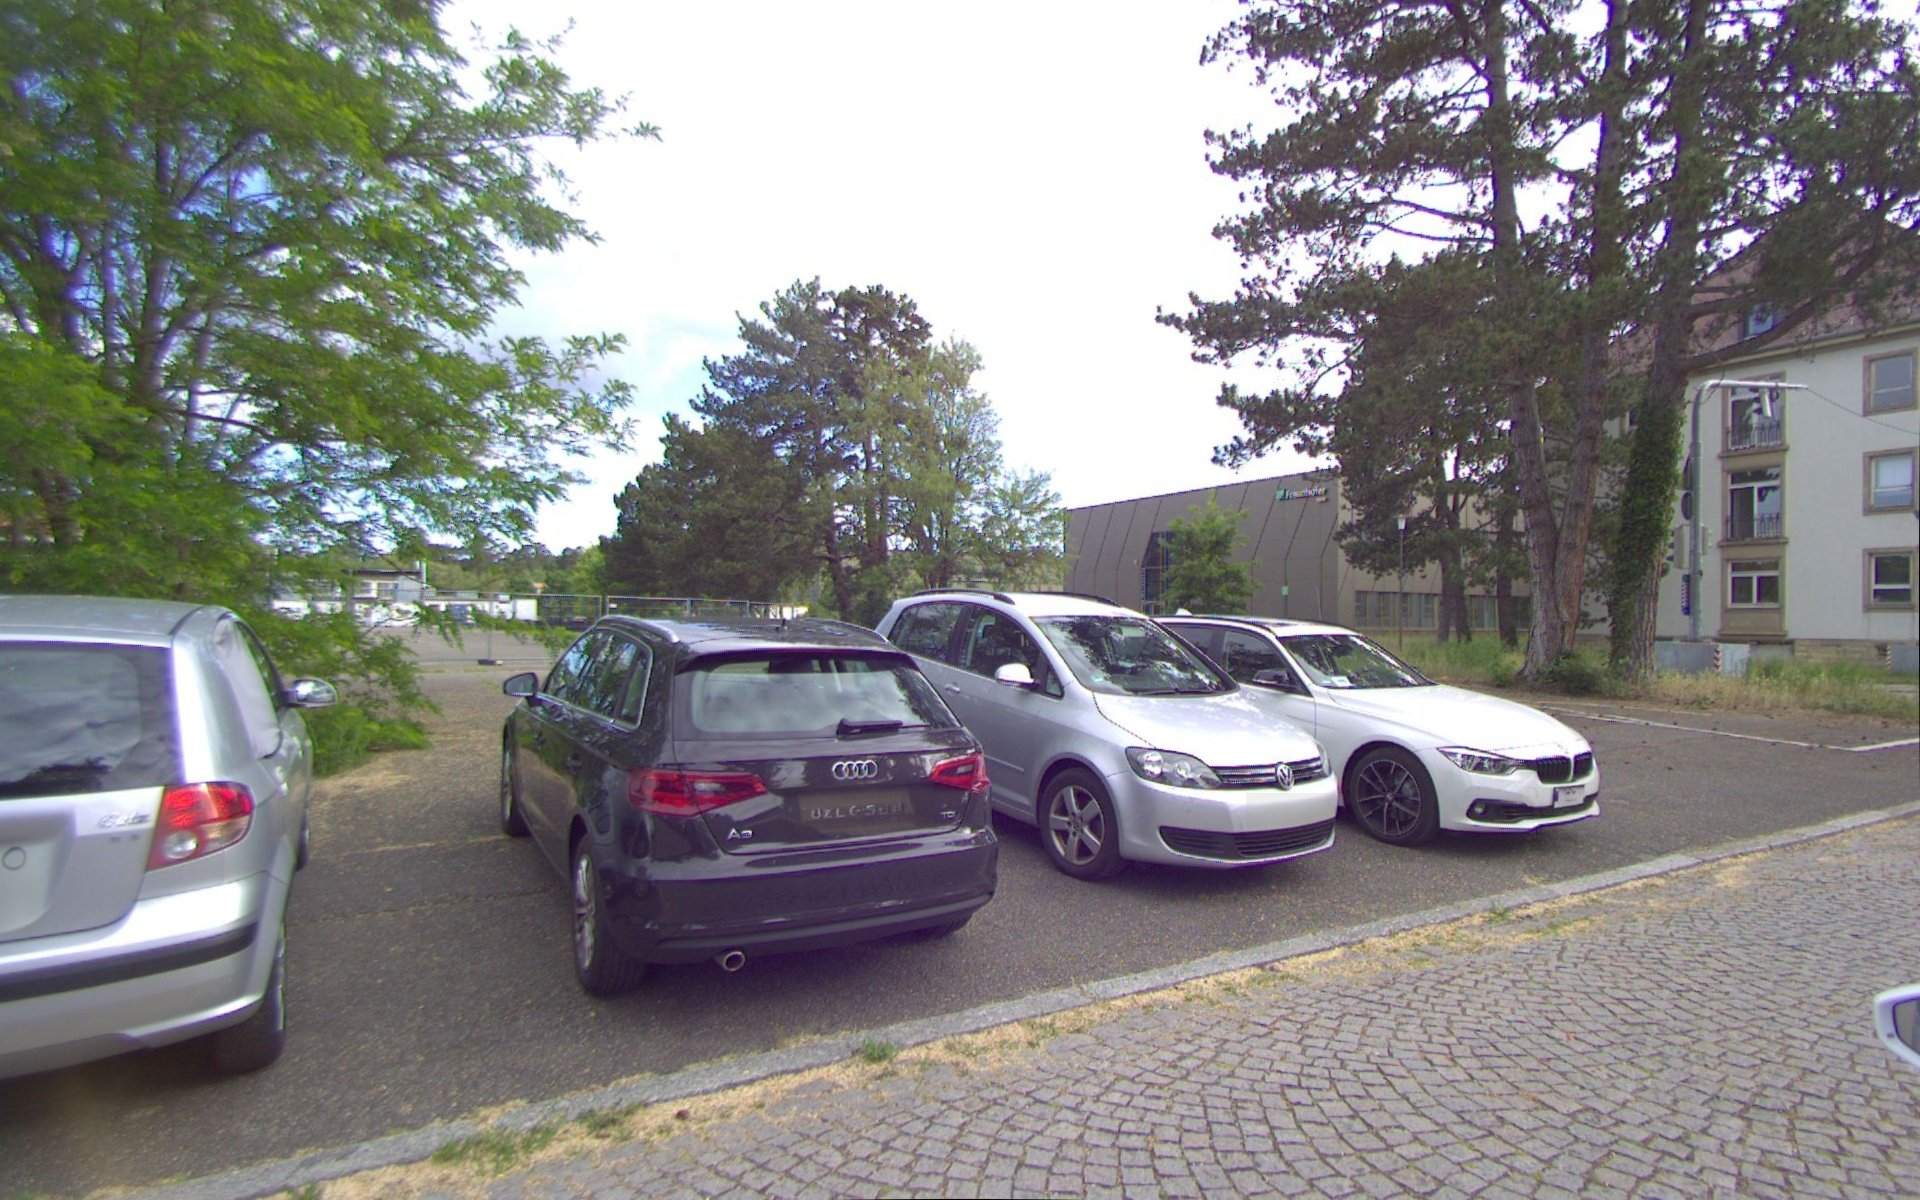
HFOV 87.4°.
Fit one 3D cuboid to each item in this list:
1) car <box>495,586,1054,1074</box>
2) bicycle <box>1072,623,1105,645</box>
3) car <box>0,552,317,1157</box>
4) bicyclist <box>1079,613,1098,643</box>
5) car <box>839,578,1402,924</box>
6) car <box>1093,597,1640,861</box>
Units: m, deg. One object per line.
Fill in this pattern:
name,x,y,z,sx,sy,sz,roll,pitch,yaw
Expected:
car,-1.286,0.726,5.186,1.565,1.448,3.725,1,2,-32
bicycle,6.357,1.671,49.670,0.598,1.038,1.946,1,-1,-29
car,-3.522,0.584,3.987,1.565,1.499,3.682,1,2,-32
bicyclist,6.355,1.385,49.672,0.598,1.429,0.746,1,-1,-30
car,0.761,0.708,6.938,1.632,1.584,3.925,1,2,-32
car,2.944,0.790,8.160,1.631,1.440,3.928,1,2,-30
